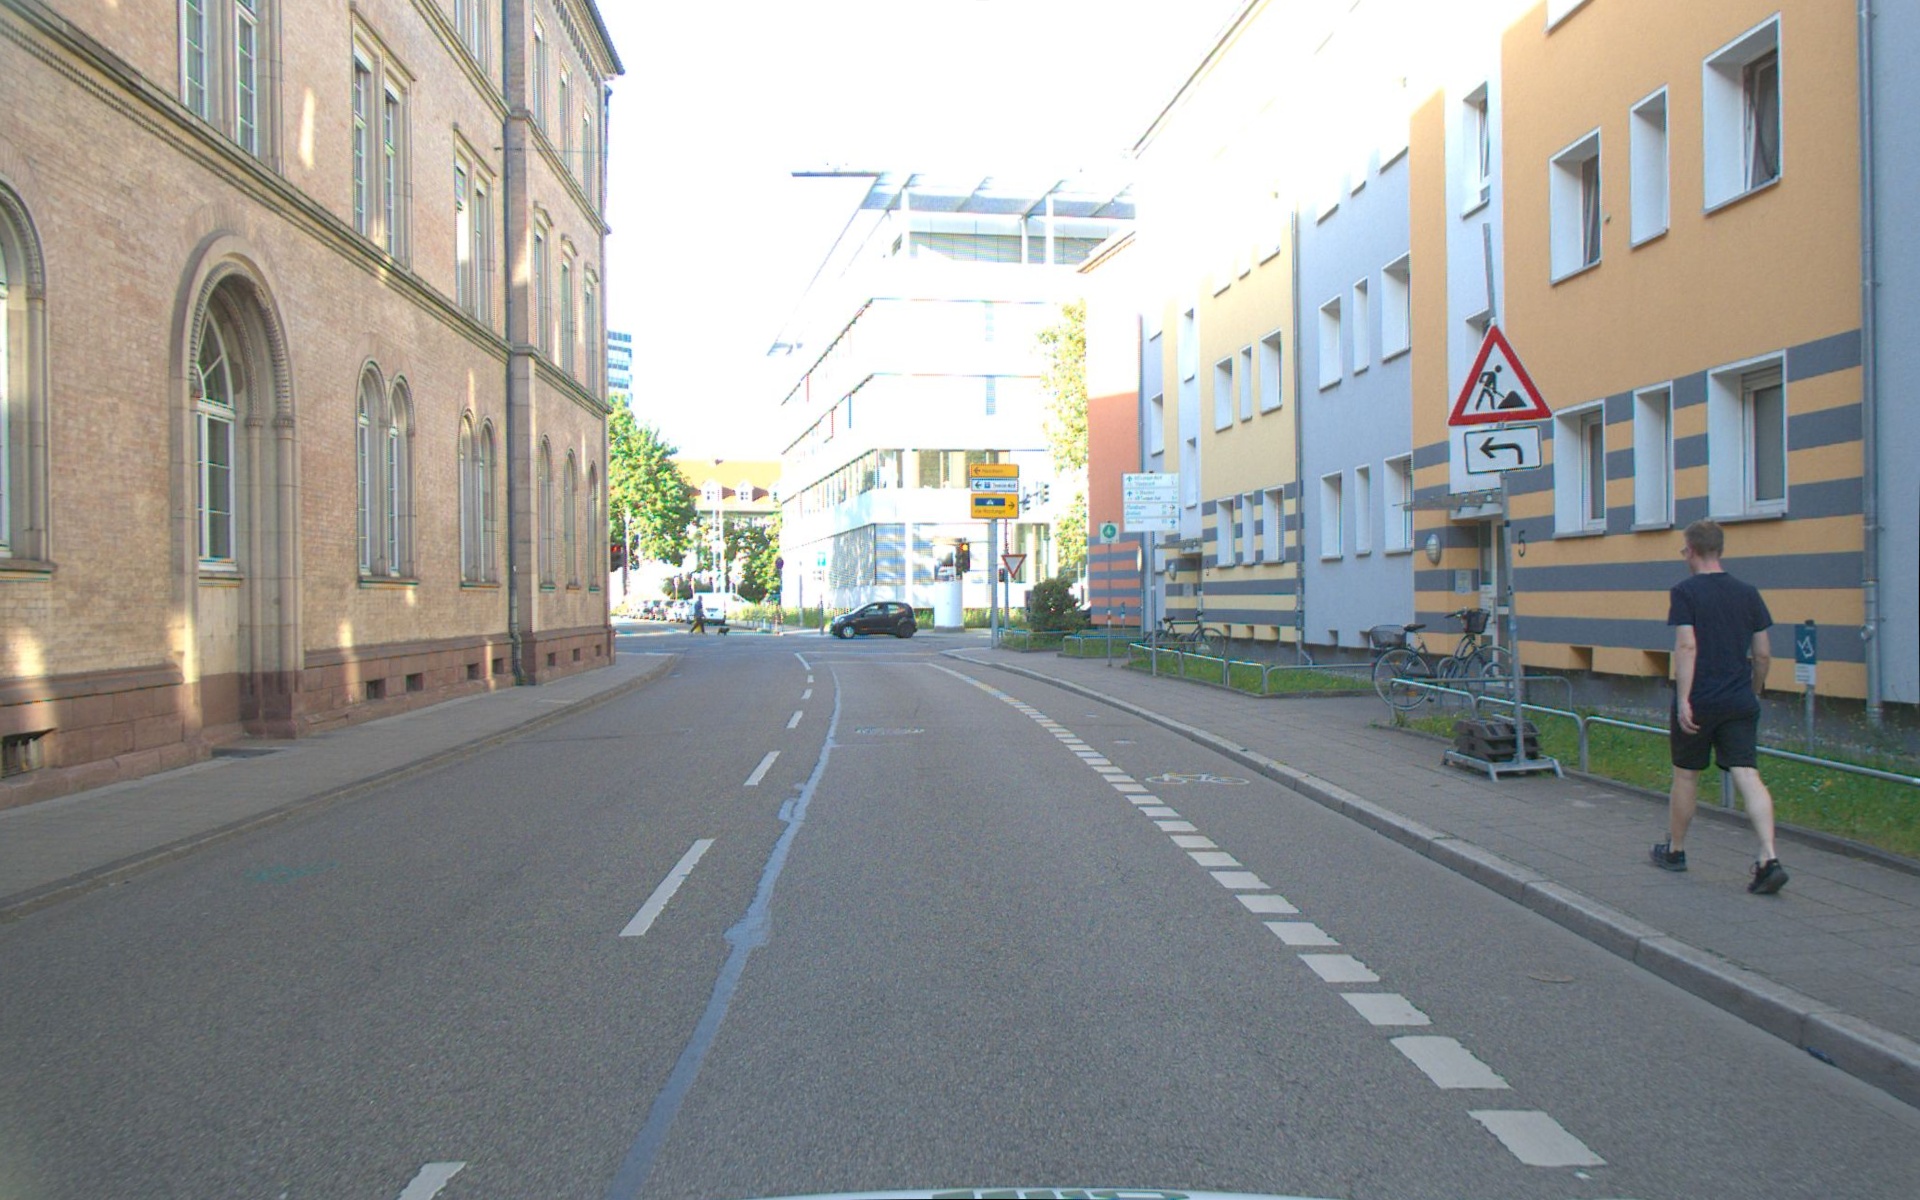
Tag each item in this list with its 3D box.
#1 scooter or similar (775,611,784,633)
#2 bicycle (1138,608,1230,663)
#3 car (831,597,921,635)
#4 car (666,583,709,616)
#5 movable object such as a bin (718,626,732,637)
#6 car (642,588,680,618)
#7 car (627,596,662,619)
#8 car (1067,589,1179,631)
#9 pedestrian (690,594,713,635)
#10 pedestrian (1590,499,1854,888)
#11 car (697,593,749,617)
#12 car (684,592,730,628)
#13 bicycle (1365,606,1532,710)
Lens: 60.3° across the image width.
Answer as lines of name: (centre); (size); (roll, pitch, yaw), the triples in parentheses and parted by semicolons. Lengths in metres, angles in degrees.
scooter or similar: (-9.079, 1.105, 83.057); (0.319, 1.078, 1.138); (-1, 0, -13)
bicycle: (4.529, 0.716, 33.535); (1.720, 1.021, 0.612); (-2, -1, -7)
car: (-3.412, 0.653, 66.733); (3.372, 1.471, 1.768); (0, -1, -15)
car: (-18.578, -0.038, 112.610); (2.291, 2.149, 4.984); (1, -1, -16)
movable object such as a bin: (-10.685, 1.423, 75.221); (0.580, 0.489, 0.285); (-1, 0, -18)
car: (-22.090, 0.251, 121.958); (2.291, 2.149, 4.984); (1, -1, -16)
car: (-25.147, 0.638, 131.712); (2.291, 1.764, 4.984); (1, -1, -16)
car: (6.807, 0.403, 69.192); (4.291, 1.662, 1.993); (-1, 0, -14)
pedestrian: (-11.549, 0.641, 73.870); (0.911, 1.790, 0.844); (1, -1, -15)
pedestrian: (3.809, 0.439, 8.369); (0.683, 1.790, 1.188); (-3, 0, -1)
car: (-19.936, 0.442, 138.933); (3.936, 1.949, 1.905); (2, -1, -25)
car: (-15.572, 0.624, 101.562); (2.383, 2.149, 5.213); (1, -1, -13)
bicycle: (5.693, 0.670, 19.326); (1.774, 1.157, 0.551); (-1, -1, -3)
